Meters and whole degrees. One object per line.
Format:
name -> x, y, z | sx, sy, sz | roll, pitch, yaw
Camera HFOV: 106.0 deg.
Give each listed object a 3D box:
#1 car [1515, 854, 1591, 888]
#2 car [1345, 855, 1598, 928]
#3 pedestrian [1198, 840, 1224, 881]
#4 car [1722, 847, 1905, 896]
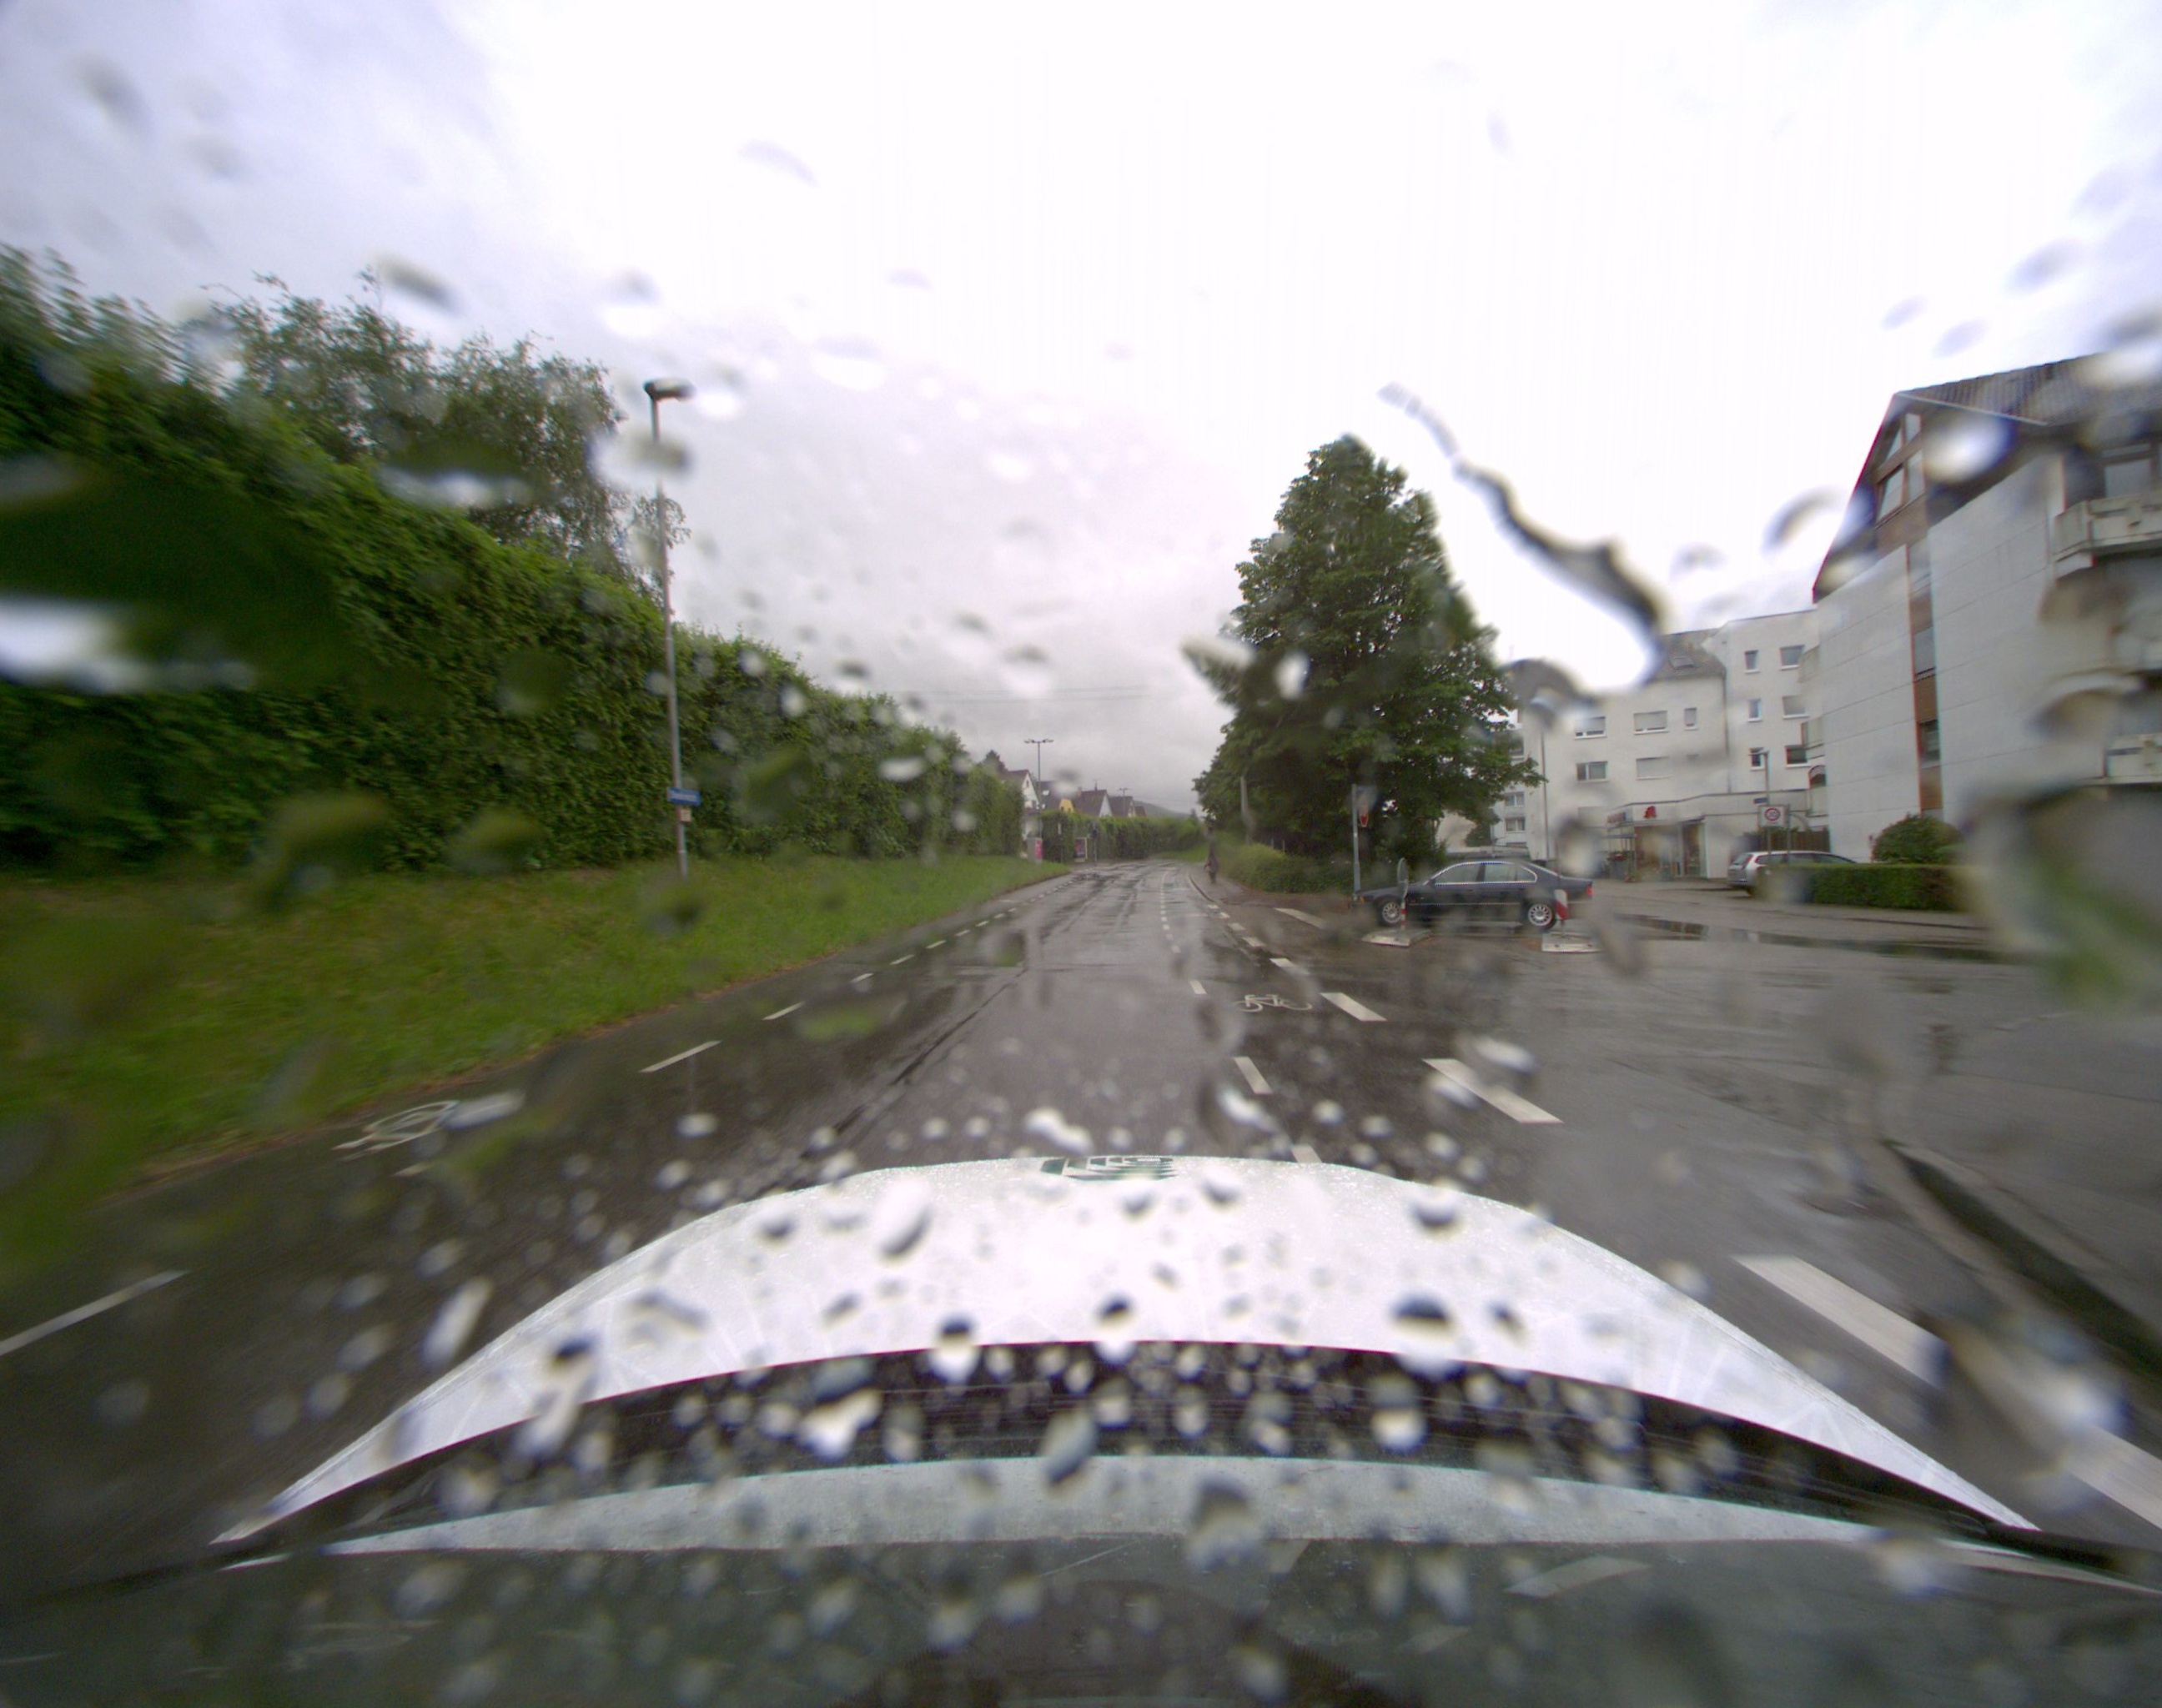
car -> 21.781, 0.769, 37.699 | 1.680, 1.438, 3.617 | -1, 0, 5
car -> 8.079, 0.729, 17.217 | 4.559, 1.387, 1.958 | -1, 0, 24
pedestrian -> 5.490, 0.258, 34.429 | 0.915, 1.675, 1.059 | -3, 0, 6
car -> 23.366, 0.544, 26.164 | 3.953, 1.461, 1.872 | -1, 0, 20
